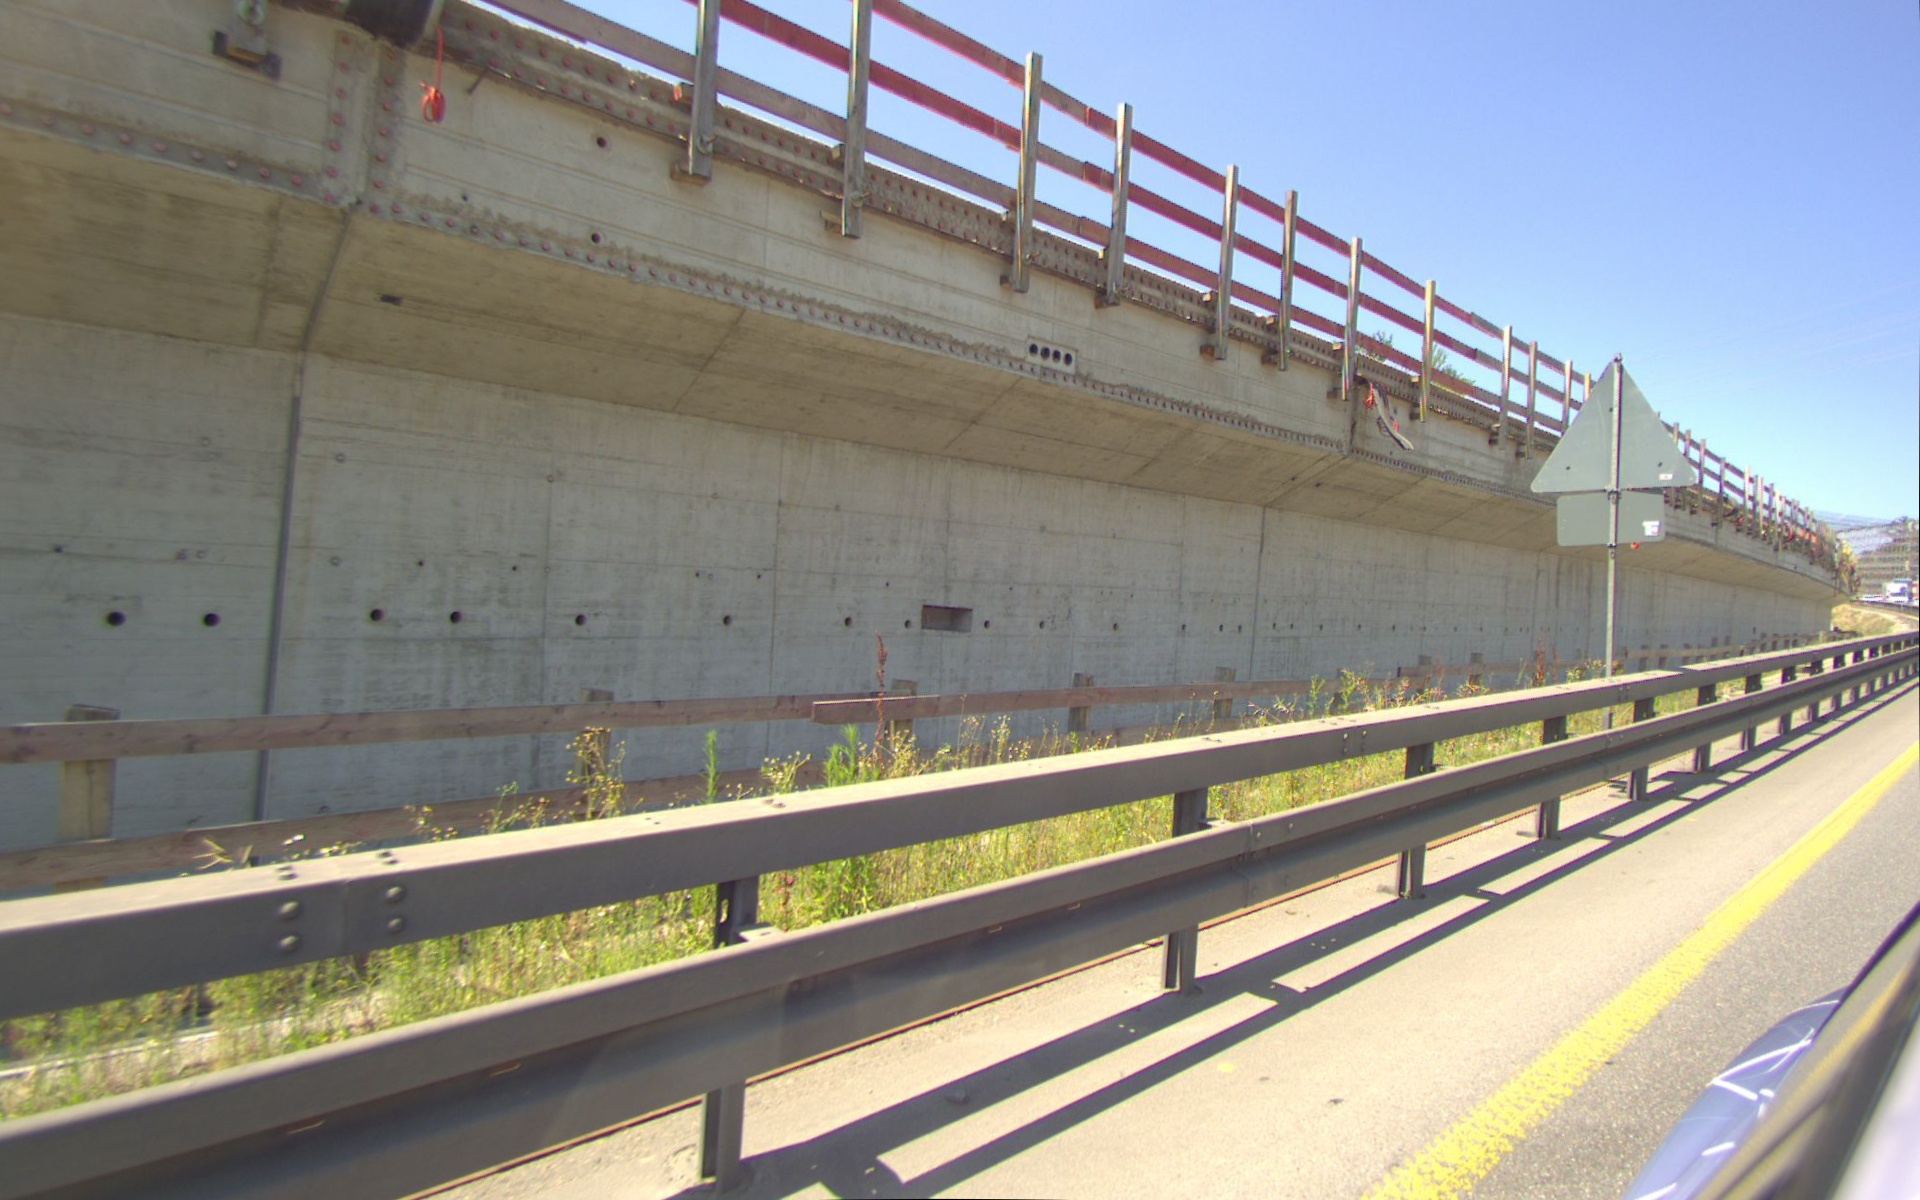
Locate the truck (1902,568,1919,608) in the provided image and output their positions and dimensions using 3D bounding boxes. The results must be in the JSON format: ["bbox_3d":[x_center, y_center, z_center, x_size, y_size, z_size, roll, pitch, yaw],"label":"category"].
[{"bbox_3d":[107.272,-1.421,112.113,2.892,4.284,9.128,1,2,34],"label":"truck"}]
